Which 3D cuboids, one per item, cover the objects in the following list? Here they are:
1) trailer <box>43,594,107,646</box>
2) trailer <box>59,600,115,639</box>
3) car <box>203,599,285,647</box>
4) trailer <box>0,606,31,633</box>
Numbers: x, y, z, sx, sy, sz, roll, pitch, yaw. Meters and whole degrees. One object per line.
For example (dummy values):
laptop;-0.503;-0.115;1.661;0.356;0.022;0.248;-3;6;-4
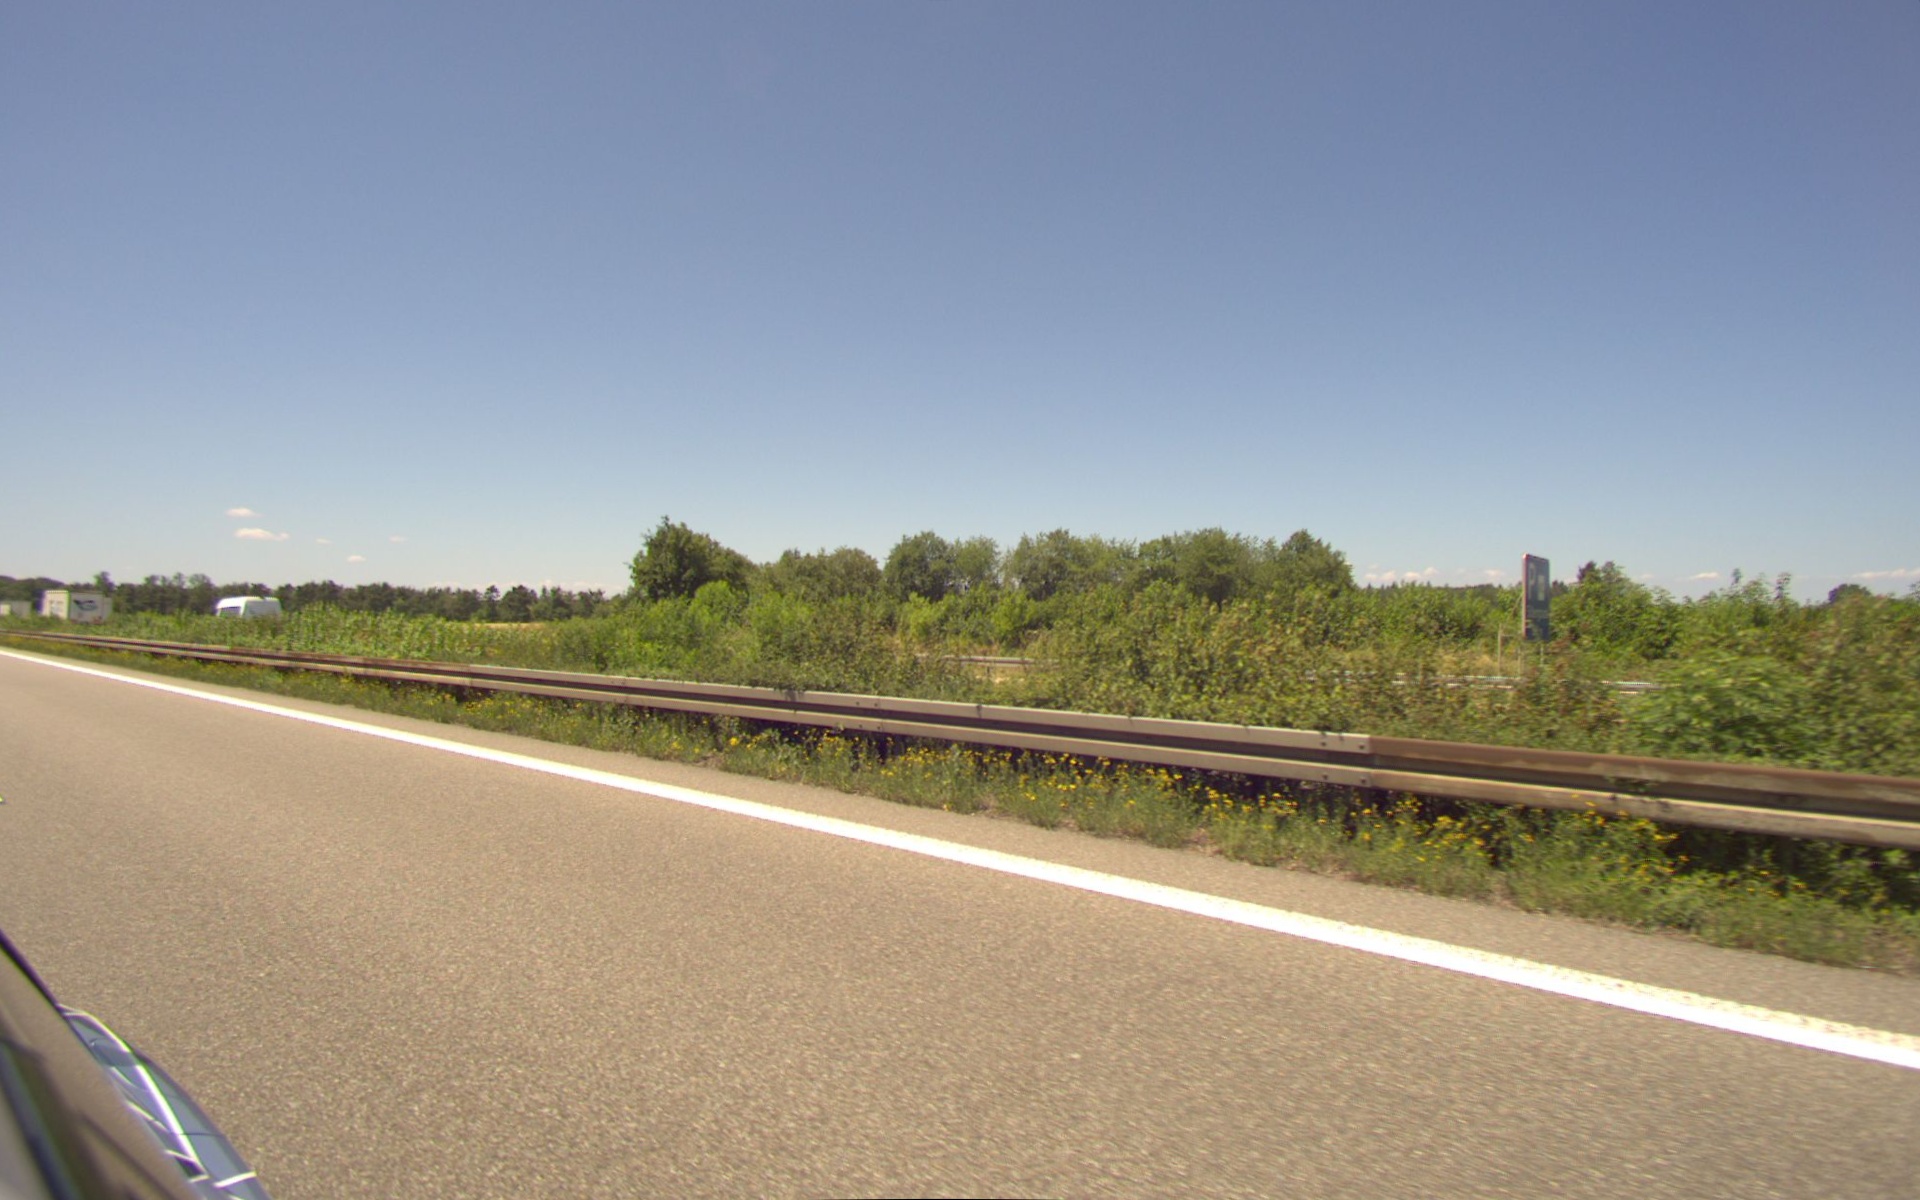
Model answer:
trailer;-83.296;1.828;95.089;13.861;4.560;2.791;-1;0;42
trailer;-97.438;2.180;112.846;14.320;4.089;2.924;-1;0;42
car;-38.693;1.193;54.624;6.729;2.412;2.059;-1;0;41
trailer;-149.349;3.074;159.349;13.951;4.089;3.026;-1;0;42
